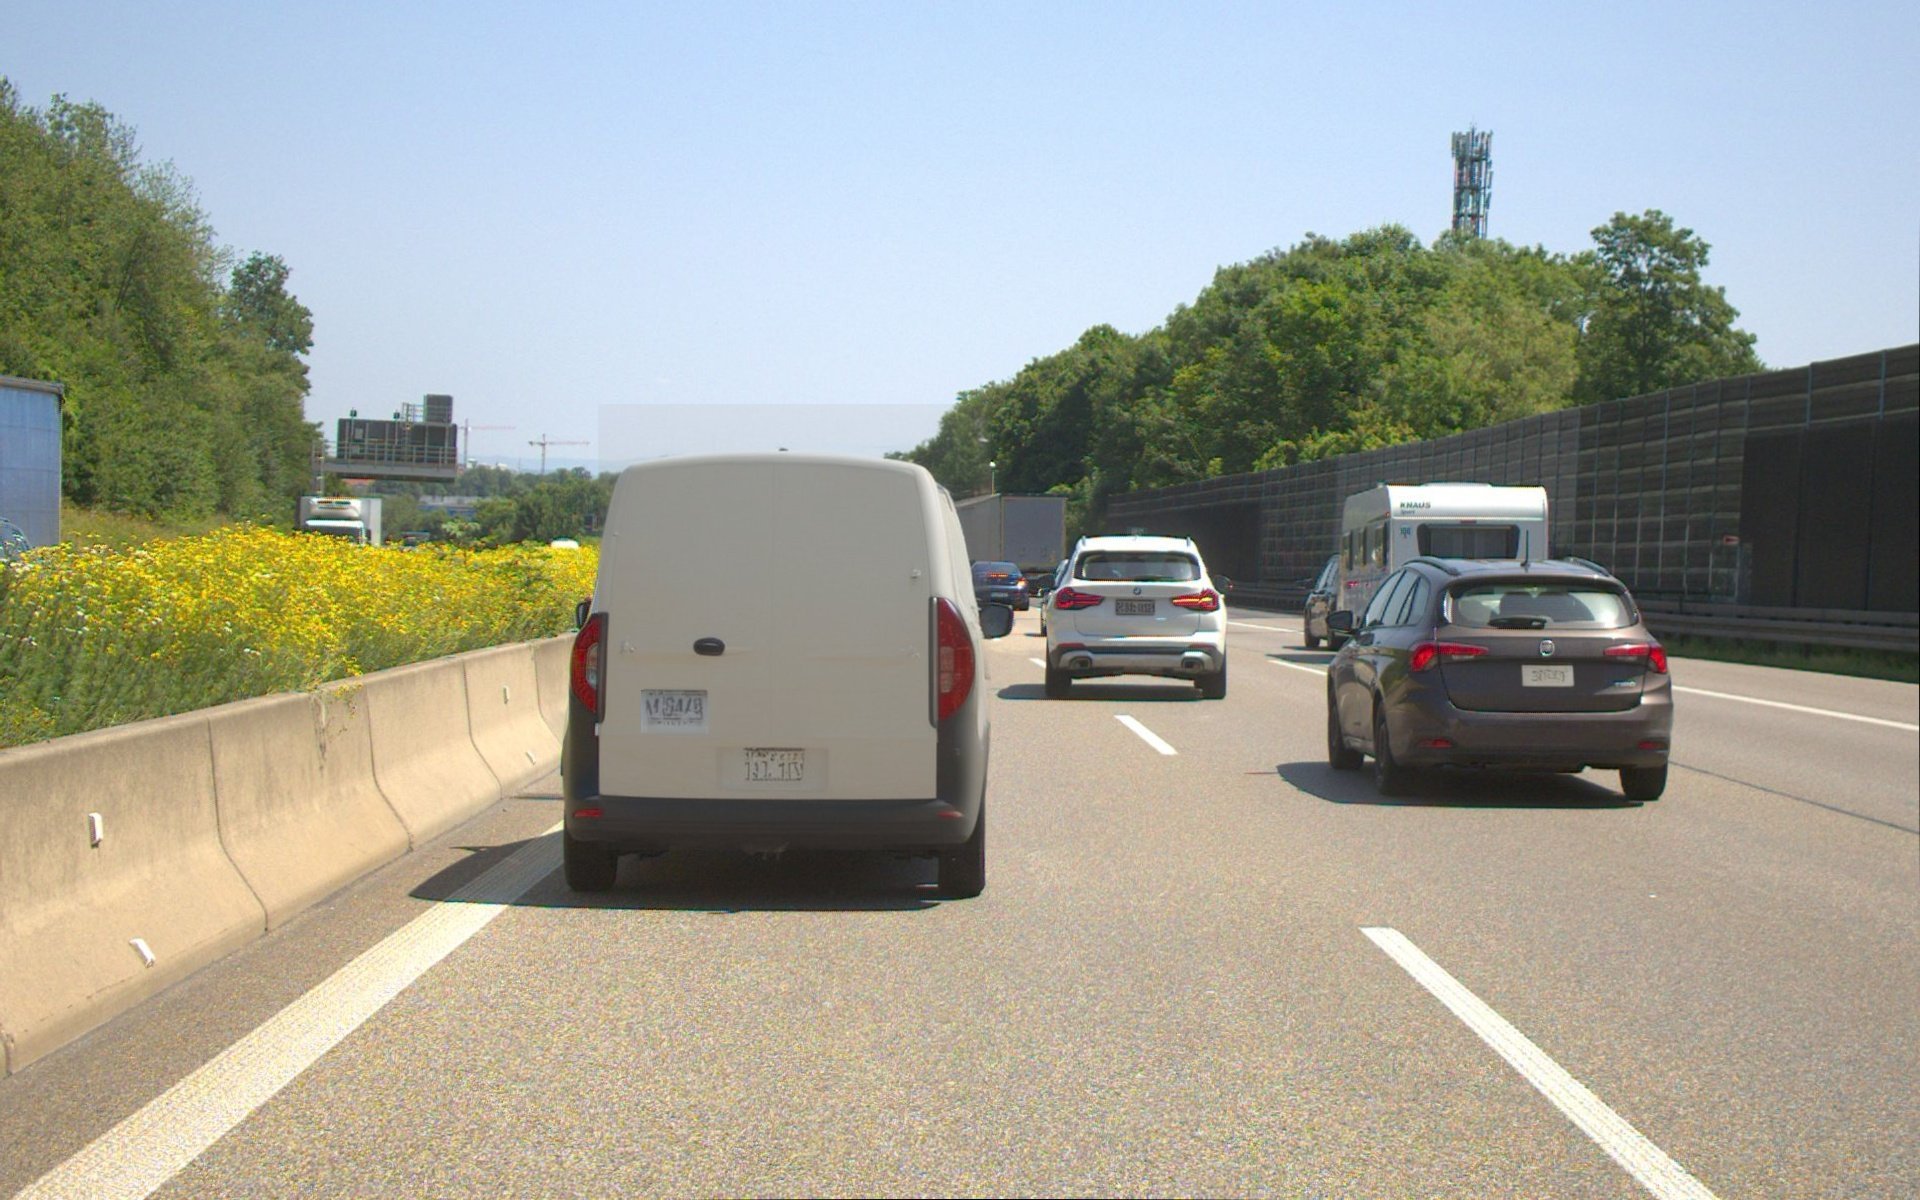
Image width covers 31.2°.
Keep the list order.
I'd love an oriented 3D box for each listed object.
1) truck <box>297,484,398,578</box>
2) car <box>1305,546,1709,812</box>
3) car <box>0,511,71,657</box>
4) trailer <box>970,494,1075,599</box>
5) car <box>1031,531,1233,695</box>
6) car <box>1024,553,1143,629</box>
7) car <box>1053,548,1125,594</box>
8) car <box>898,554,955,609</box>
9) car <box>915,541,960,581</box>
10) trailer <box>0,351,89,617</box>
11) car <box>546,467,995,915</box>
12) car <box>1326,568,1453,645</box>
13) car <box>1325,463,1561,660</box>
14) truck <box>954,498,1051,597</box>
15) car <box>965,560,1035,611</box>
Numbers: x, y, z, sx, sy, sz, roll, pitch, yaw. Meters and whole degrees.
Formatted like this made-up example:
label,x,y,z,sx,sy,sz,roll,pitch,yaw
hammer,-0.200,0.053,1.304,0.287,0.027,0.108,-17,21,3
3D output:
label,x,y,z,sx,sy,sz,roll,pitch,yaw
truck,-23.426,-2.628,131.826,2.735,3.463,7.315,1,1,-2
car,3.426,0.429,22.357,1.838,1.508,4.402,1,1,-1
car,-11.283,-0.203,37.526,1.993,1.556,4.640,1,1,-1
trailer,2.426,-2.114,137.322,3.081,3.972,10.325,1,0,-5
car,1.778,0.096,36.600,1.871,1.603,3.879,1,1,-1
car,2.388,-0.192,67.324,1.824,1.419,4.001,1,0,-5
car,4.202,-0.950,112.492,1.824,1.419,4.001,2,1,-5
car,-1.290,-0.720,130.179,1.824,1.982,4.001,1,1,-5
car,-1.152,-2.029,177.361,1.993,2.007,4.001,1,1,-5
trailer,-15.247,-1.700,49.795,2.781,3.844,10.171,1,1,-1
car,-0.795,0.346,15.971,1.802,1.802,4.000,1,1,-1
car,8.343,0.105,67.126,1.824,1.419,4.000,1,0,-2
car,7.155,-0.570,51.686,2.478,2.756,6.220,1,0,-1
truck,1.734,-2.197,145.121,3.081,3.972,9.648,1,0,-5
car,1.151,-0.440,99.565,1.824,1.419,4.000,1,0,-2
